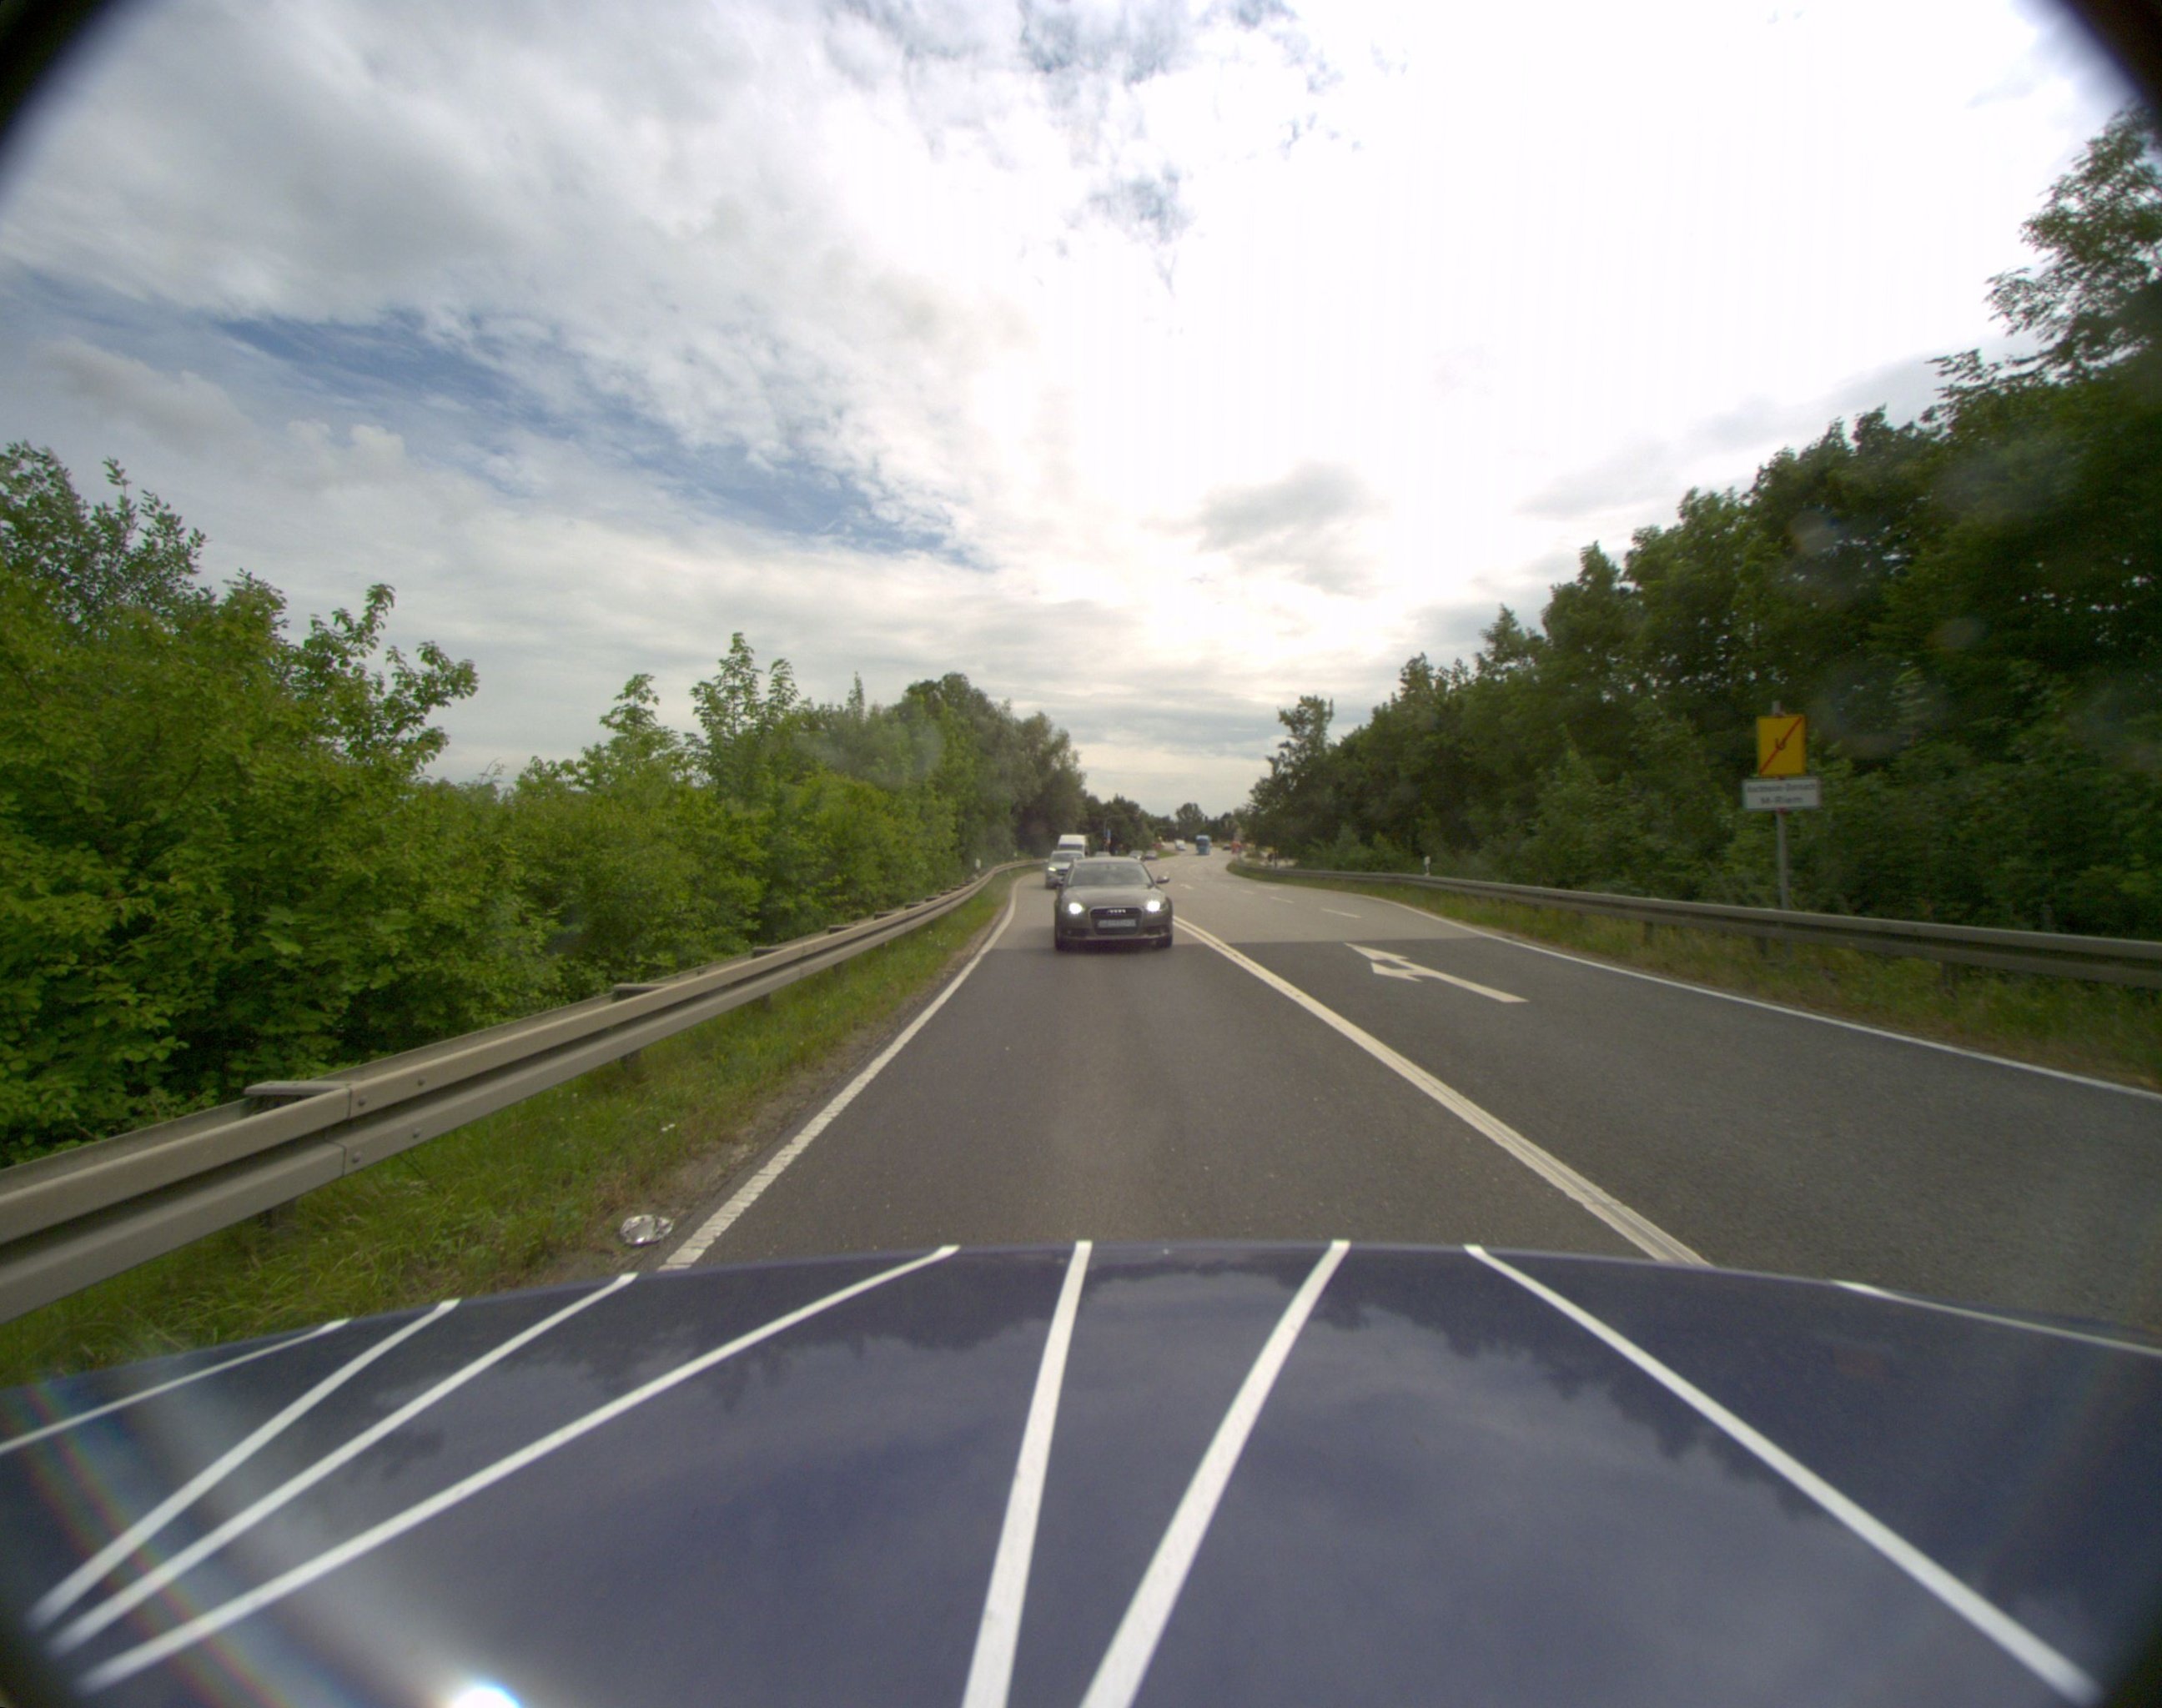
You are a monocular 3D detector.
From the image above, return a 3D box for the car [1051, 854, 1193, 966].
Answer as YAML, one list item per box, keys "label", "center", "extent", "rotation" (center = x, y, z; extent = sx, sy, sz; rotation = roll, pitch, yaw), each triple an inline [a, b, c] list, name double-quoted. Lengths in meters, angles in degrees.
- label: "car"
  center: [0.524, 0.781, 13.007]
  extent: [1.965, 1.447, 4.795]
  rotation: [-1, 1, -1]

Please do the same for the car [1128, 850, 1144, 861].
- label: "car"
  center: [7.301, 0.160, 100.260]
  extent: [1.743, 1.317, 4.002]
  rotation: [3, 1, 8]

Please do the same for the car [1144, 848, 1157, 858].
- label: "car"
  center: [10.689, -0.162, 116.291]
  extent: [1.743, 1.317, 4.002]
  rotation: [3, 1, 7]

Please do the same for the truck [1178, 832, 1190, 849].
- label: "truck"
  center: [27.764, -3.694, 205.431]
  extent: [3.025, 4.325, 9.574]
  rotation: [1, 1, 6]

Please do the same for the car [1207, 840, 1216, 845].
- label: "car"
  center: [38.596, -3.375, 224.810]
  extent: [1.920, 1.562, 3.999]
  rotation: [1, 1, 0]

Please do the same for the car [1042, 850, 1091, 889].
- label: "car"
  center: [-0.567, 0.623, 33.095]
  extent: [1.826, 1.489, 4.224]
  rotation: [2, 1, 2]

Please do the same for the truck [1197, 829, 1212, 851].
- label: "truck"
  center: [25.848, -2.964, 158.883]
  extent: [3.024, 4.325, 9.576]
  rotation: [1, 1, 9]

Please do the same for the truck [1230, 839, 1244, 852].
- label: "truck"
  center: [33.619, -1.843, 163.793]
  extent: [2.320, 2.586, 6.027]
  rotation: [1, 0, 7]

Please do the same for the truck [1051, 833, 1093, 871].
- label: "truck"
  center: [-0.589, -0.215, 55.101]
  extent: [2.378, 2.579, 6.000]
  rotation: [1, 1, 5]

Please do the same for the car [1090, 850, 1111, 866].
- label: "car"
  center: [1.869, 0.370, 72.435]
  extent: [1.743, 1.317, 4.001]
  rotation: [3, 1, 4]

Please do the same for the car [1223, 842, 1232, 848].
- label: "car"
  center: [37.778, -2.404, 196.082]
  extent: [1.920, 1.562, 4.000]
  rotation: [1, 1, 4]
